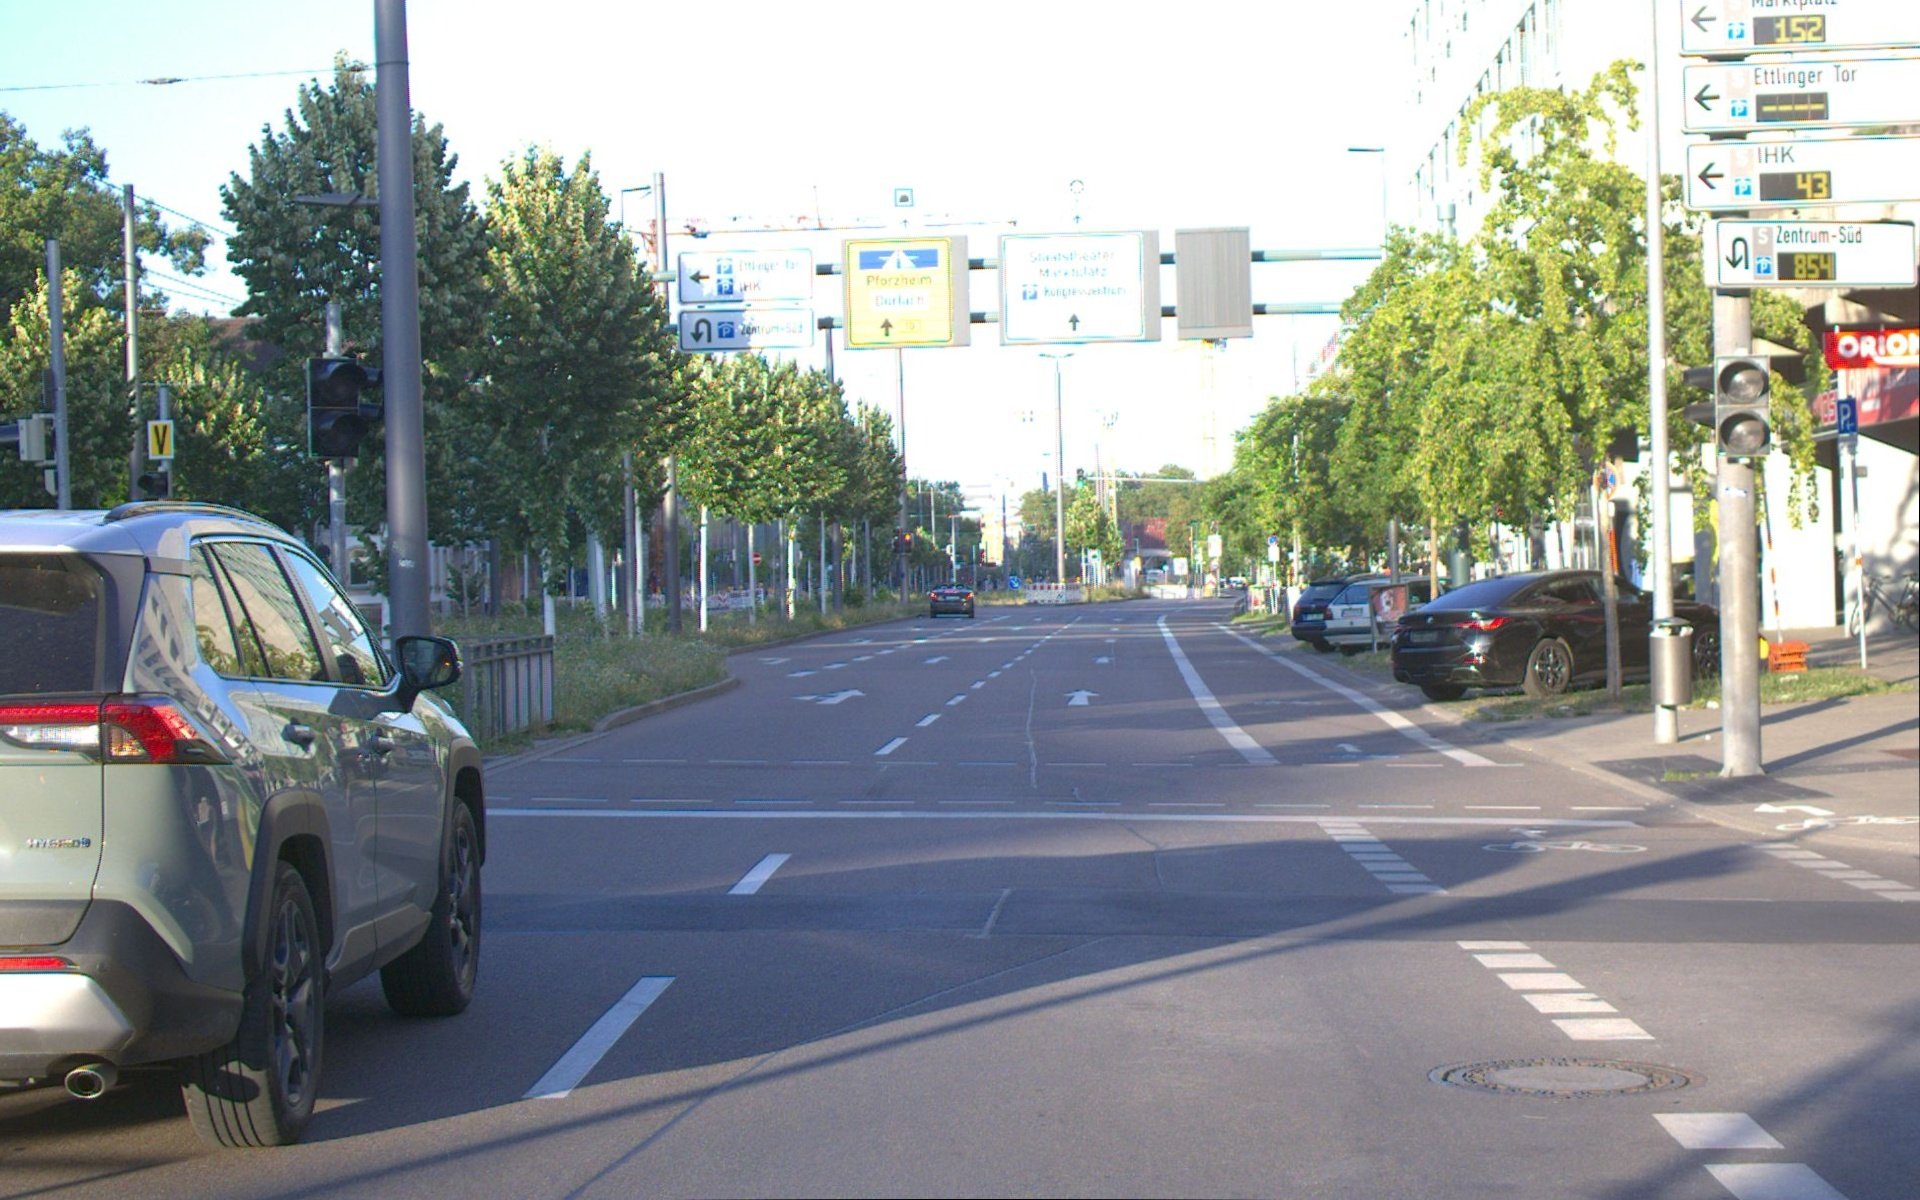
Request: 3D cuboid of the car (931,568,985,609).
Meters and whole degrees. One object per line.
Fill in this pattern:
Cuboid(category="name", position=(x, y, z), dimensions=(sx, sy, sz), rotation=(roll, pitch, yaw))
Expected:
Cuboid(category="car", position=(-0.056, -0.459, 131.127), dimensions=(1.979, 1.428, 4.843), rotation=(0, 2, 1))

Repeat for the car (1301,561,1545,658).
Cuboid(category="car", position=(8.473, 0.142, 62.827), dimensions=(4.255, 1.653, 1.860), rotation=(-1, 2, -34))

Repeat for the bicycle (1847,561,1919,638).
Cuboid(category="bicycle", position=(14.744, 0.009, 52.884), dimensions=(2.017, 1.145, 0.690), rotation=(2, 0, 8))

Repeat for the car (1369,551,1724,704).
Cuboid(category="car", position=(6.961, 0.281, 40.615), dimensions=(4.256, 1.653, 1.860), rotation=(-1, 2, -41))

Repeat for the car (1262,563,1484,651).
Cuboid(category="car", position=(8.320, 0.107, 69.182), dimensions=(4.255, 1.653, 1.860), rotation=(-1, 2, -34))

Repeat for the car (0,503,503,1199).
Cuboid(category="car", position=(-2.547, 0.555, 9.794), dimensions=(1.854, 1.653, 4.269), rotation=(0, 2, 1))
